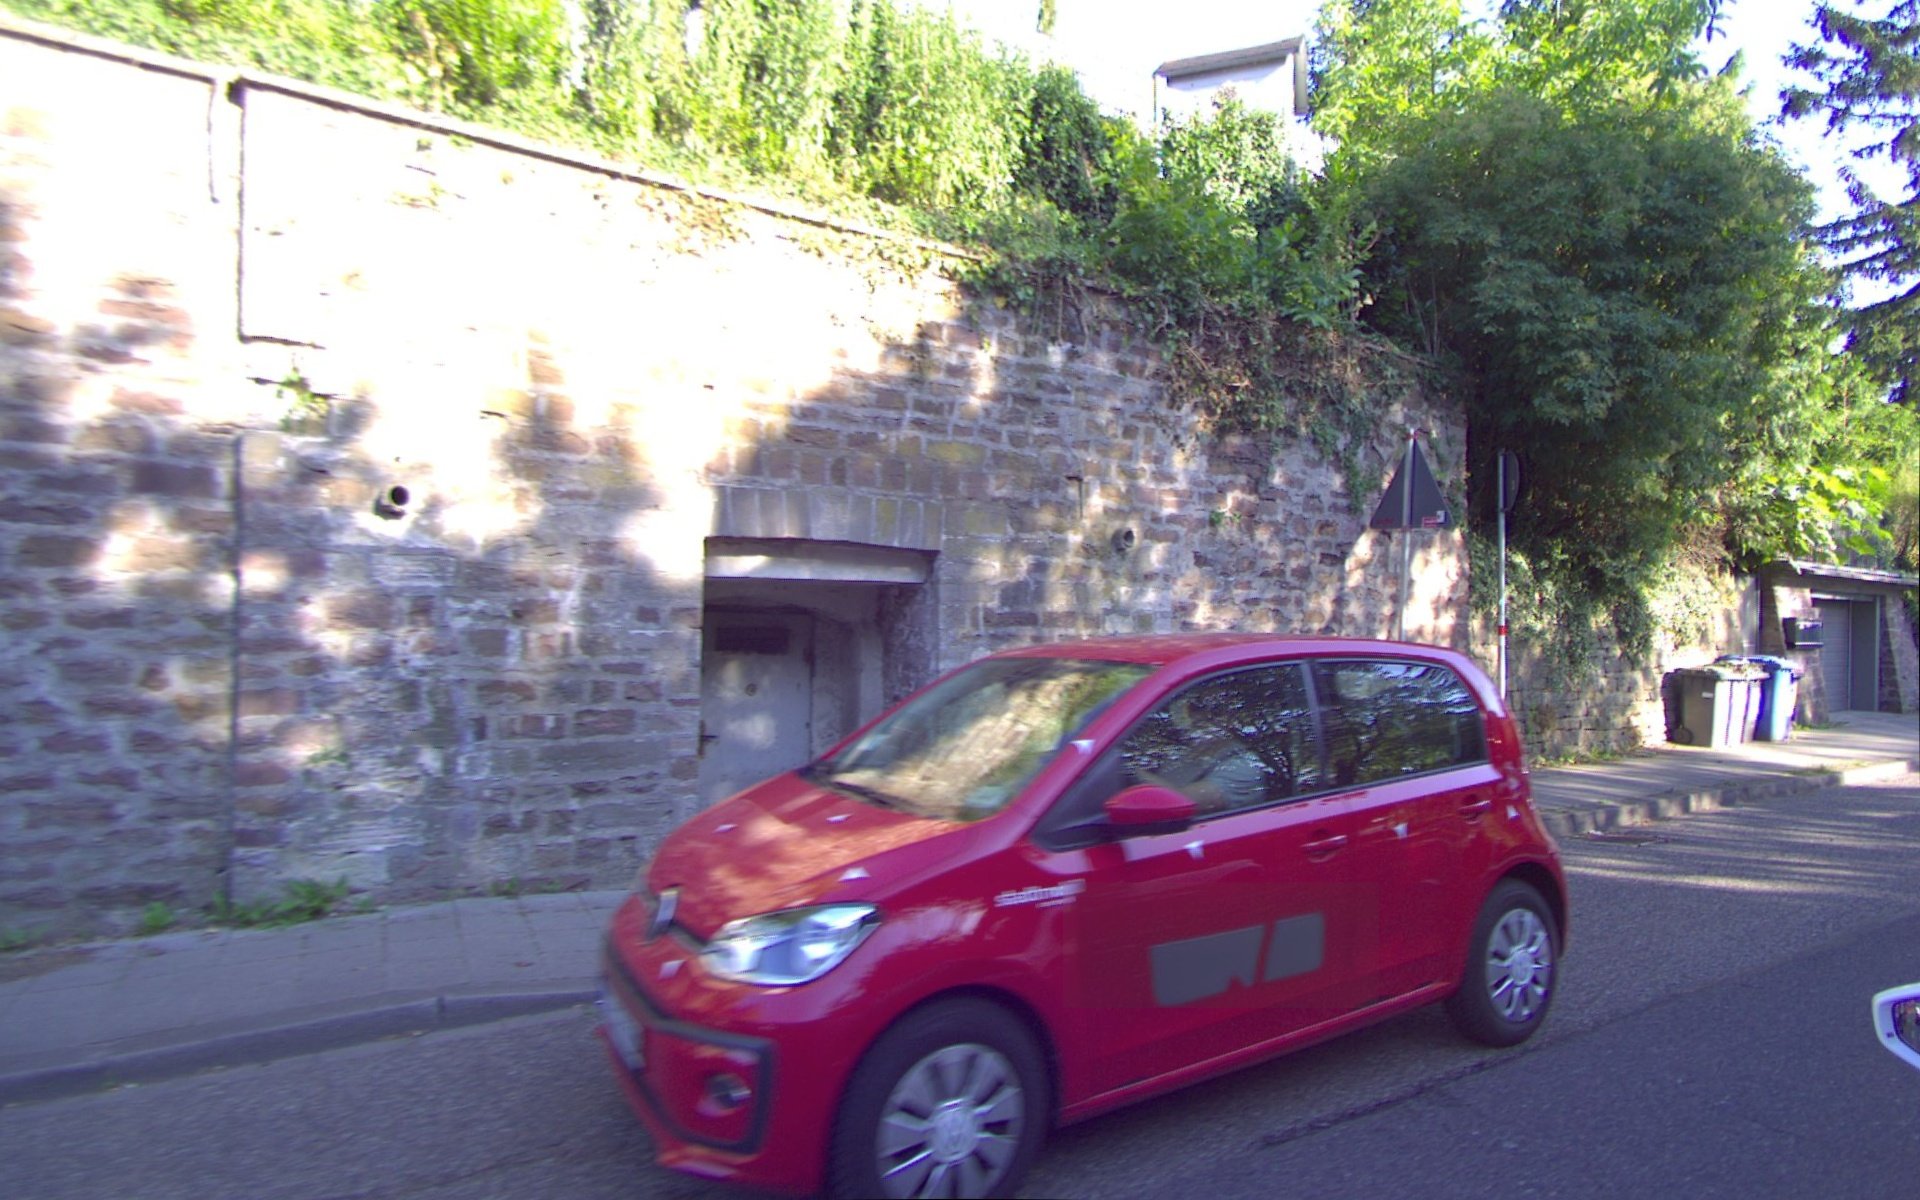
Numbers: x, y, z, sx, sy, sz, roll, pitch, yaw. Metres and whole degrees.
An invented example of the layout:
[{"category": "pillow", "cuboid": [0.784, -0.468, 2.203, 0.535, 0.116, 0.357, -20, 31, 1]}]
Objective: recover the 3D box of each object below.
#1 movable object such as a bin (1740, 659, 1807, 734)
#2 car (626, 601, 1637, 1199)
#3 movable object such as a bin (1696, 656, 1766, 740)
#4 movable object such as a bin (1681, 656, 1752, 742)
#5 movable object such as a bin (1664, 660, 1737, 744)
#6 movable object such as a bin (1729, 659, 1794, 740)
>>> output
[{"category": "movable object such as a bin", "cuboid": [10.899, 1.283, 13.462, 0.434, 0.937, 0.570, 1, 0, -32]}, {"category": "car", "cuboid": [0.741, 0.810, 3.717, 3.527, 1.485, 1.543, 1, -3, -30]}, {"category": "movable object such as a bin", "cuboid": [9.772, 1.225, 12.741, 0.434, 0.998, 0.570, 2, 0, -32]}, {"category": "movable object such as a bin", "cuboid": [9.380, 1.210, 12.455, 0.434, 0.998, 0.570, 2, 0, -32]}, {"category": "movable object such as a bin", "cuboid": [8.995, 1.225, 12.213, 0.434, 0.950, 0.580, 2, 0, -32]}, {"category": "movable object such as a bin", "cuboid": [10.329, 1.265, 12.947, 0.577, 0.977, 0.487, 1, 0, -33]}]
